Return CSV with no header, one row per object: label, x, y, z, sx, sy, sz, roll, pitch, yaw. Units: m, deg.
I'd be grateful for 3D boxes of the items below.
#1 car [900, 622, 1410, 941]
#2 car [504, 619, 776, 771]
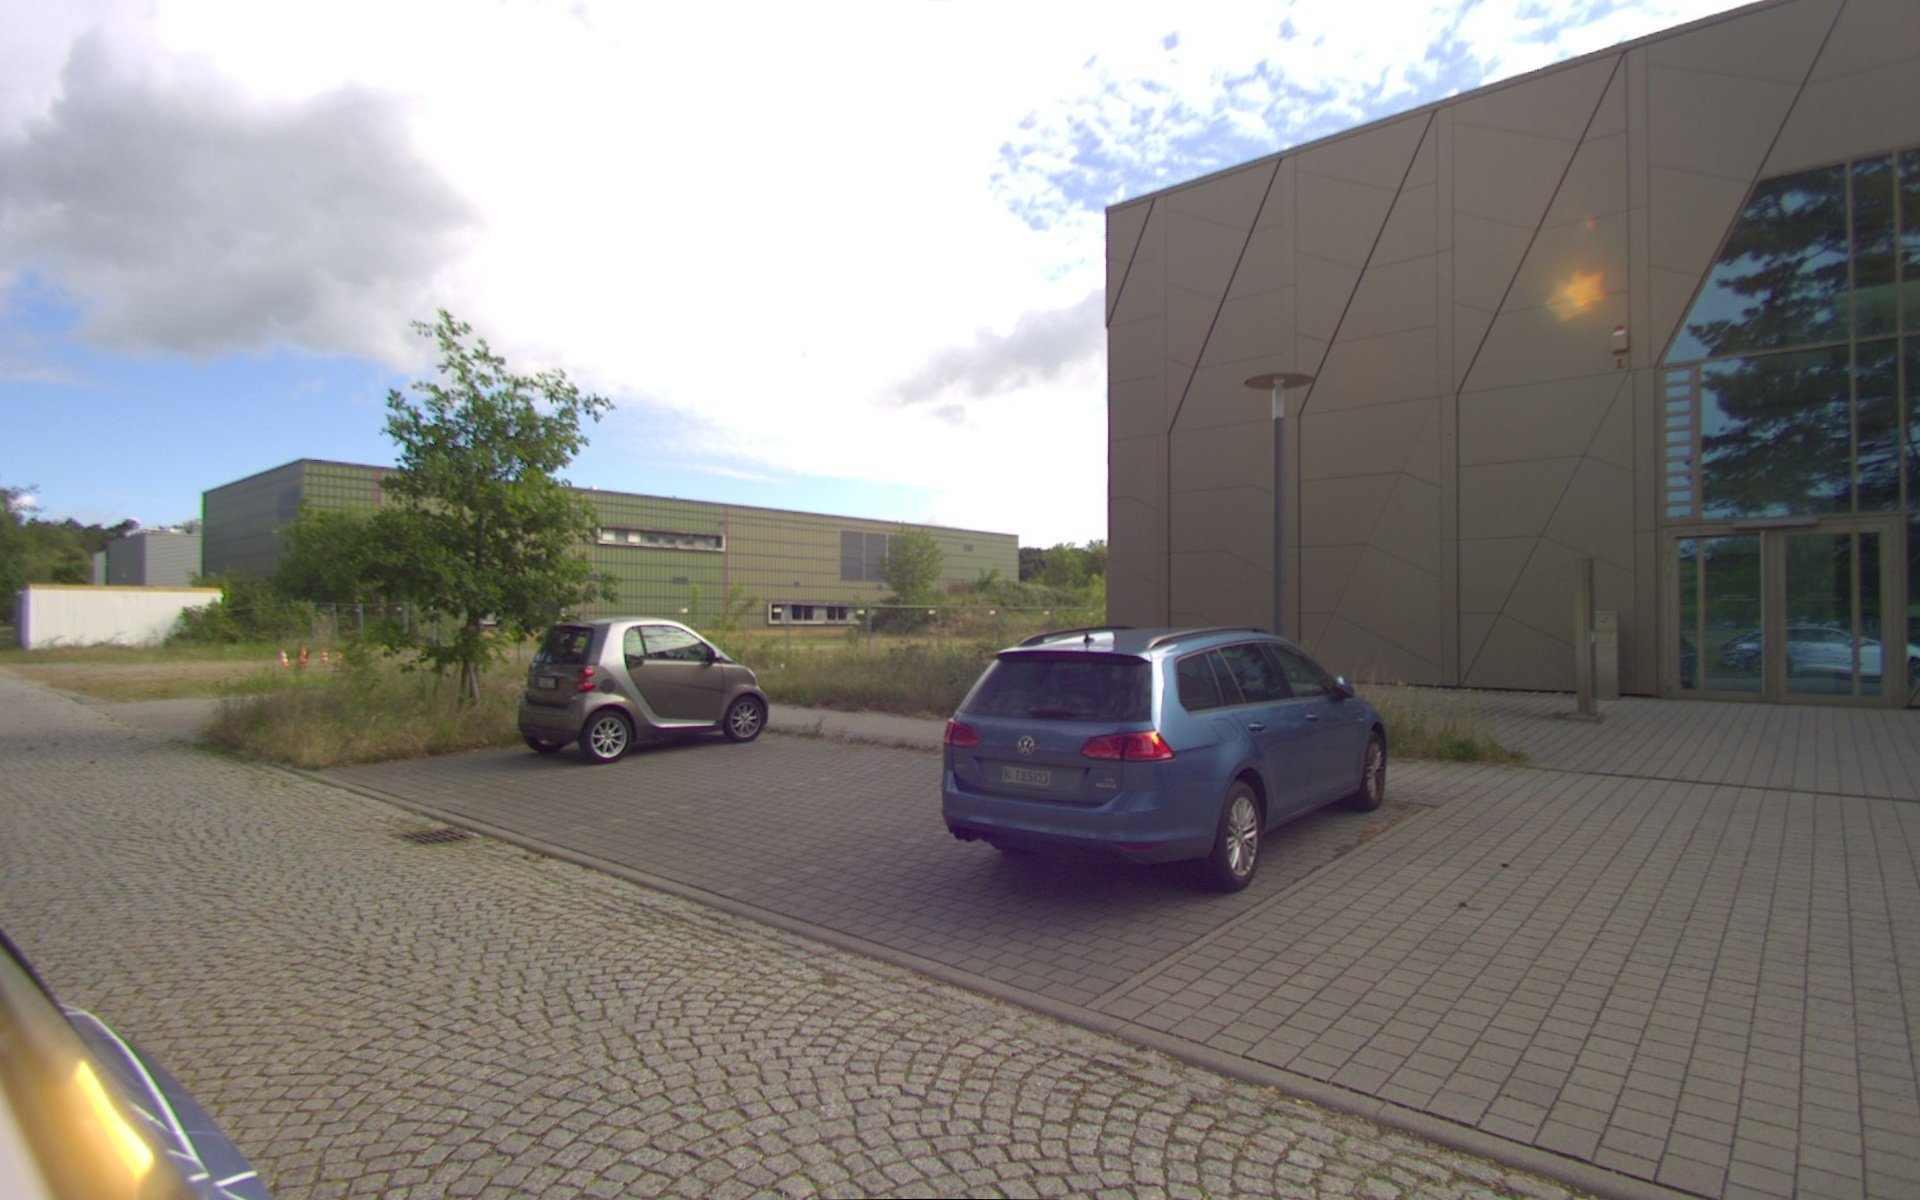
car,1.651,0.920,7.087,1.771,1.439,4.264,-1,-1,38
car,-3.731,1.012,11.991,1.609,1.523,2.627,-1,-1,40
